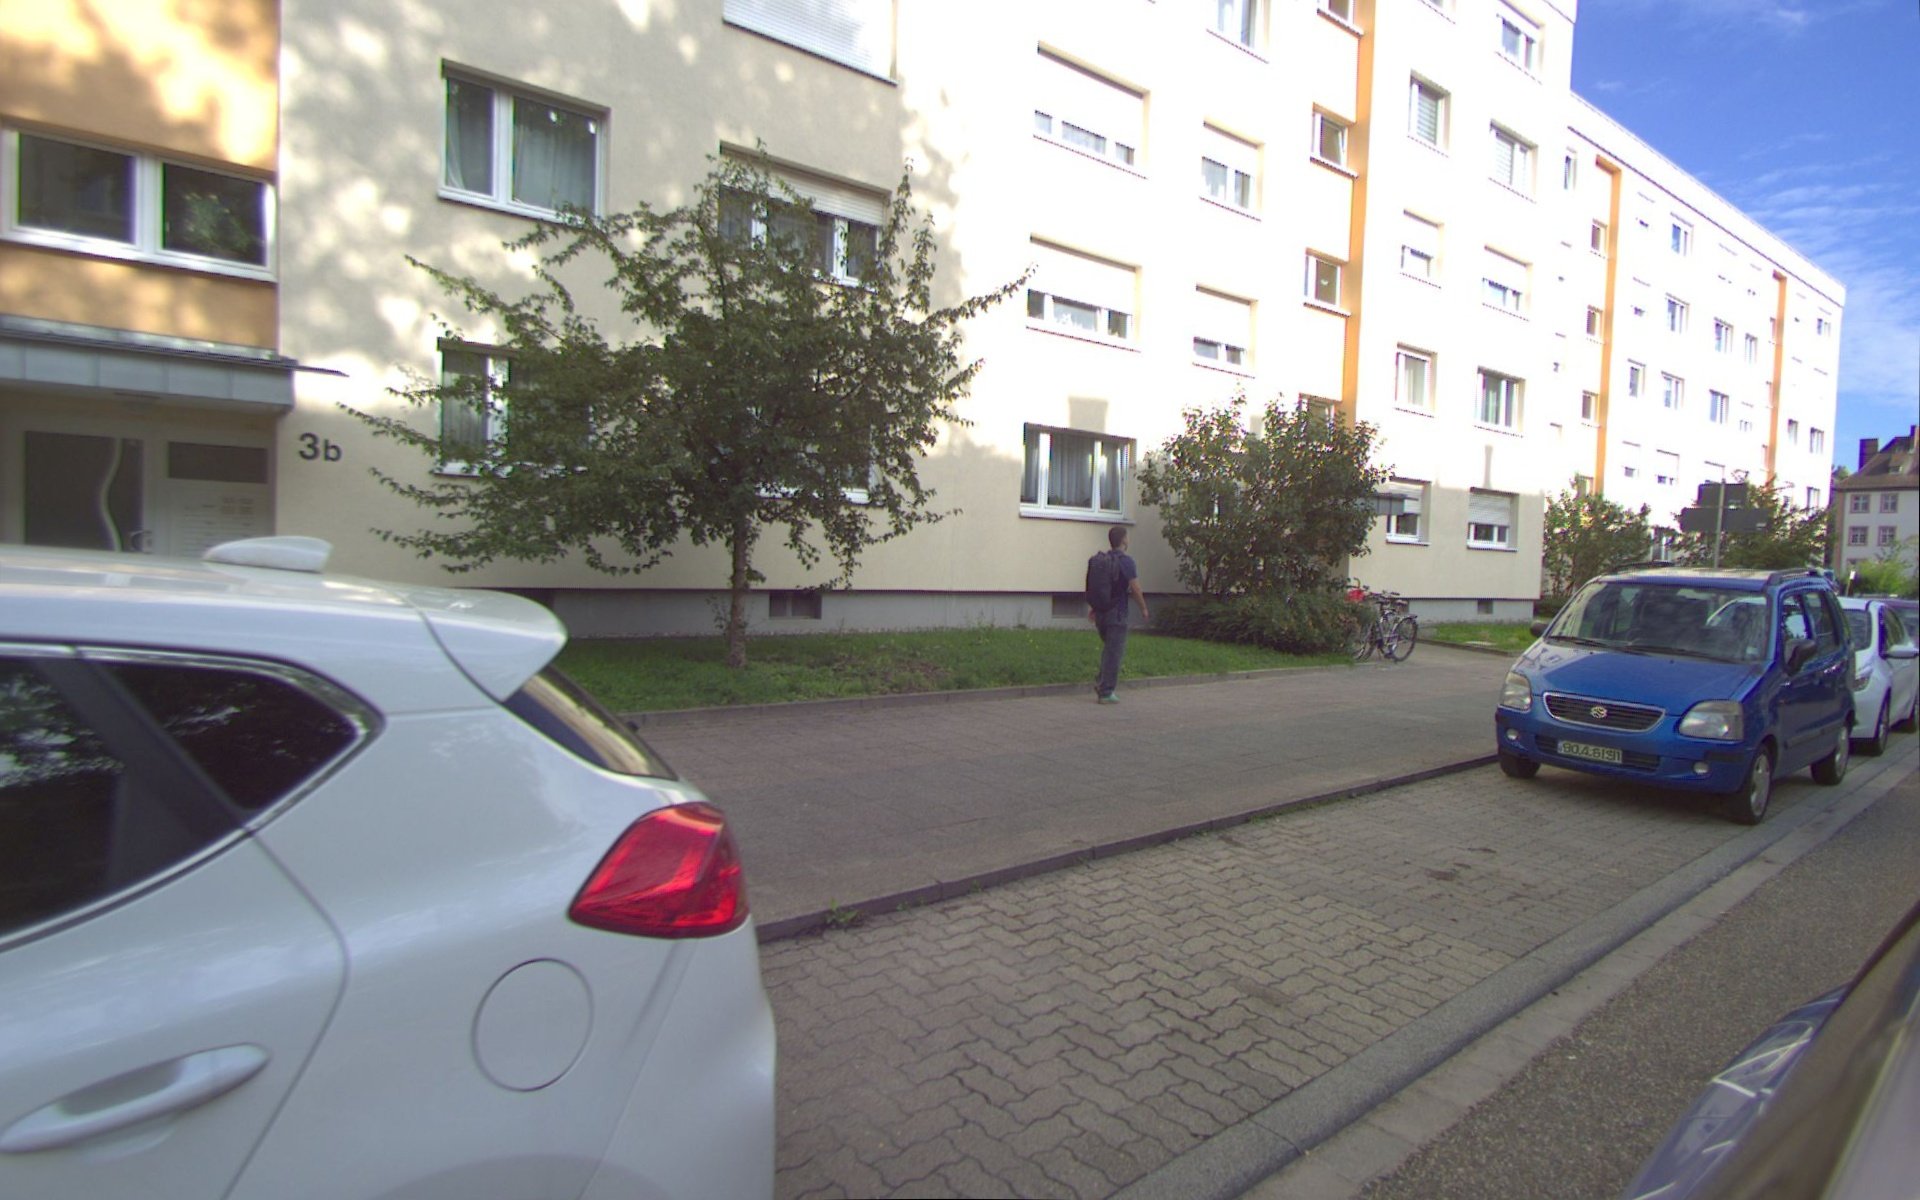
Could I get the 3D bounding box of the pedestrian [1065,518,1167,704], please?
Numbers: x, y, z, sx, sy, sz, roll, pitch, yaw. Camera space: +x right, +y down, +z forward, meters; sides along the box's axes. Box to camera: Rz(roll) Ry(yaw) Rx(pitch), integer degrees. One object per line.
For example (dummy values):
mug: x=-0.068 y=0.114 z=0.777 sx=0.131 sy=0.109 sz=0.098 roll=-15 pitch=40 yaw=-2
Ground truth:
pedestrian: x=1.531 y=0.093 z=9.943 sx=0.756 sy=1.742 sz=0.544 roll=1 pitch=2 yaw=-35

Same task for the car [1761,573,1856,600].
car: x=52.591 y=-0.851 z=62.783 sx=1.833 sy=1.500 sz=4.096 roll=0 pitch=2 yaw=-30

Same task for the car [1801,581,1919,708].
car: x=13.381 y=0.555 z=14.319 sx=4.121 sy=1.533 sz=1.731 roll=-1 pitch=4 yaw=-43

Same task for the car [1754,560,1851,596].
car: x=54.530 y=-1.444 z=65.557 sx=2.320 sy=2.219 sz=4.286 roll=0 pitch=2 yaw=-32

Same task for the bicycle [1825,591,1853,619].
bicycle: x=34.627 y=0.195 z=39.863 sx=1.663 sy=1.010 sz=0.597 roll=-2 pitch=3 yaw=-40

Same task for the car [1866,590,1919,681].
car: x=17.212 y=0.593 z=17.487 sx=3.986 sy=1.433 sz=1.666 roll=0 pitch=4 yaw=-39

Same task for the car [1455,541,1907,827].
car: x=5.793 y=0.460 z=7.967 sx=4.041 sy=1.669 sz=1.734 roll=0 pitch=4 yaw=-38

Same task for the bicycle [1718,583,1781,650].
bicycle: x=14.349 y=0.277 z=18.373 sx=1.896 sy=1.149 sz=0.524 roll=0 pitch=2 yaw=-41

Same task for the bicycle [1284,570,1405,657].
bicycle: x=6.400 y=0.194 z=16.760 sx=2.588 sy=1.306 sz=0.597 roll=0 pitch=5 yaw=-40

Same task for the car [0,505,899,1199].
car: x=-2.425 y=0.613 z=0.842 sx=4.558 sy=1.505 sz=1.733 roll=0 pitch=4 yaw=-39

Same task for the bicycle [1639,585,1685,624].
bicycle: x=20.219 y=0.114 z=29.130 sx=2.059 sy=1.042 sz=0.503 roll=-1 pitch=5 yaw=-41

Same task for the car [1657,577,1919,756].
car: x=9.104 y=0.555 z=10.796 sx=4.045 sy=1.478 sz=1.732 roll=0 pitch=4 yaw=-41

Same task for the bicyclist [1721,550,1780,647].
bicyclist: x=14.333 y=-0.042 z=18.347 sx=0.877 sy=1.698 sz=0.624 roll=0 pitch=2 yaw=-41

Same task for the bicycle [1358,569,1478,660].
bicycle: x=7.181 y=0.192 z=15.788 sx=2.588 sy=1.307 sz=0.605 roll=0 pitch=3 yaw=-40

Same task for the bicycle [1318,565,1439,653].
bicycle: x=6.768 y=0.120 z=16.274 sx=2.588 sy=1.306 sz=0.605 roll=0 pitch=4 yaw=-40
